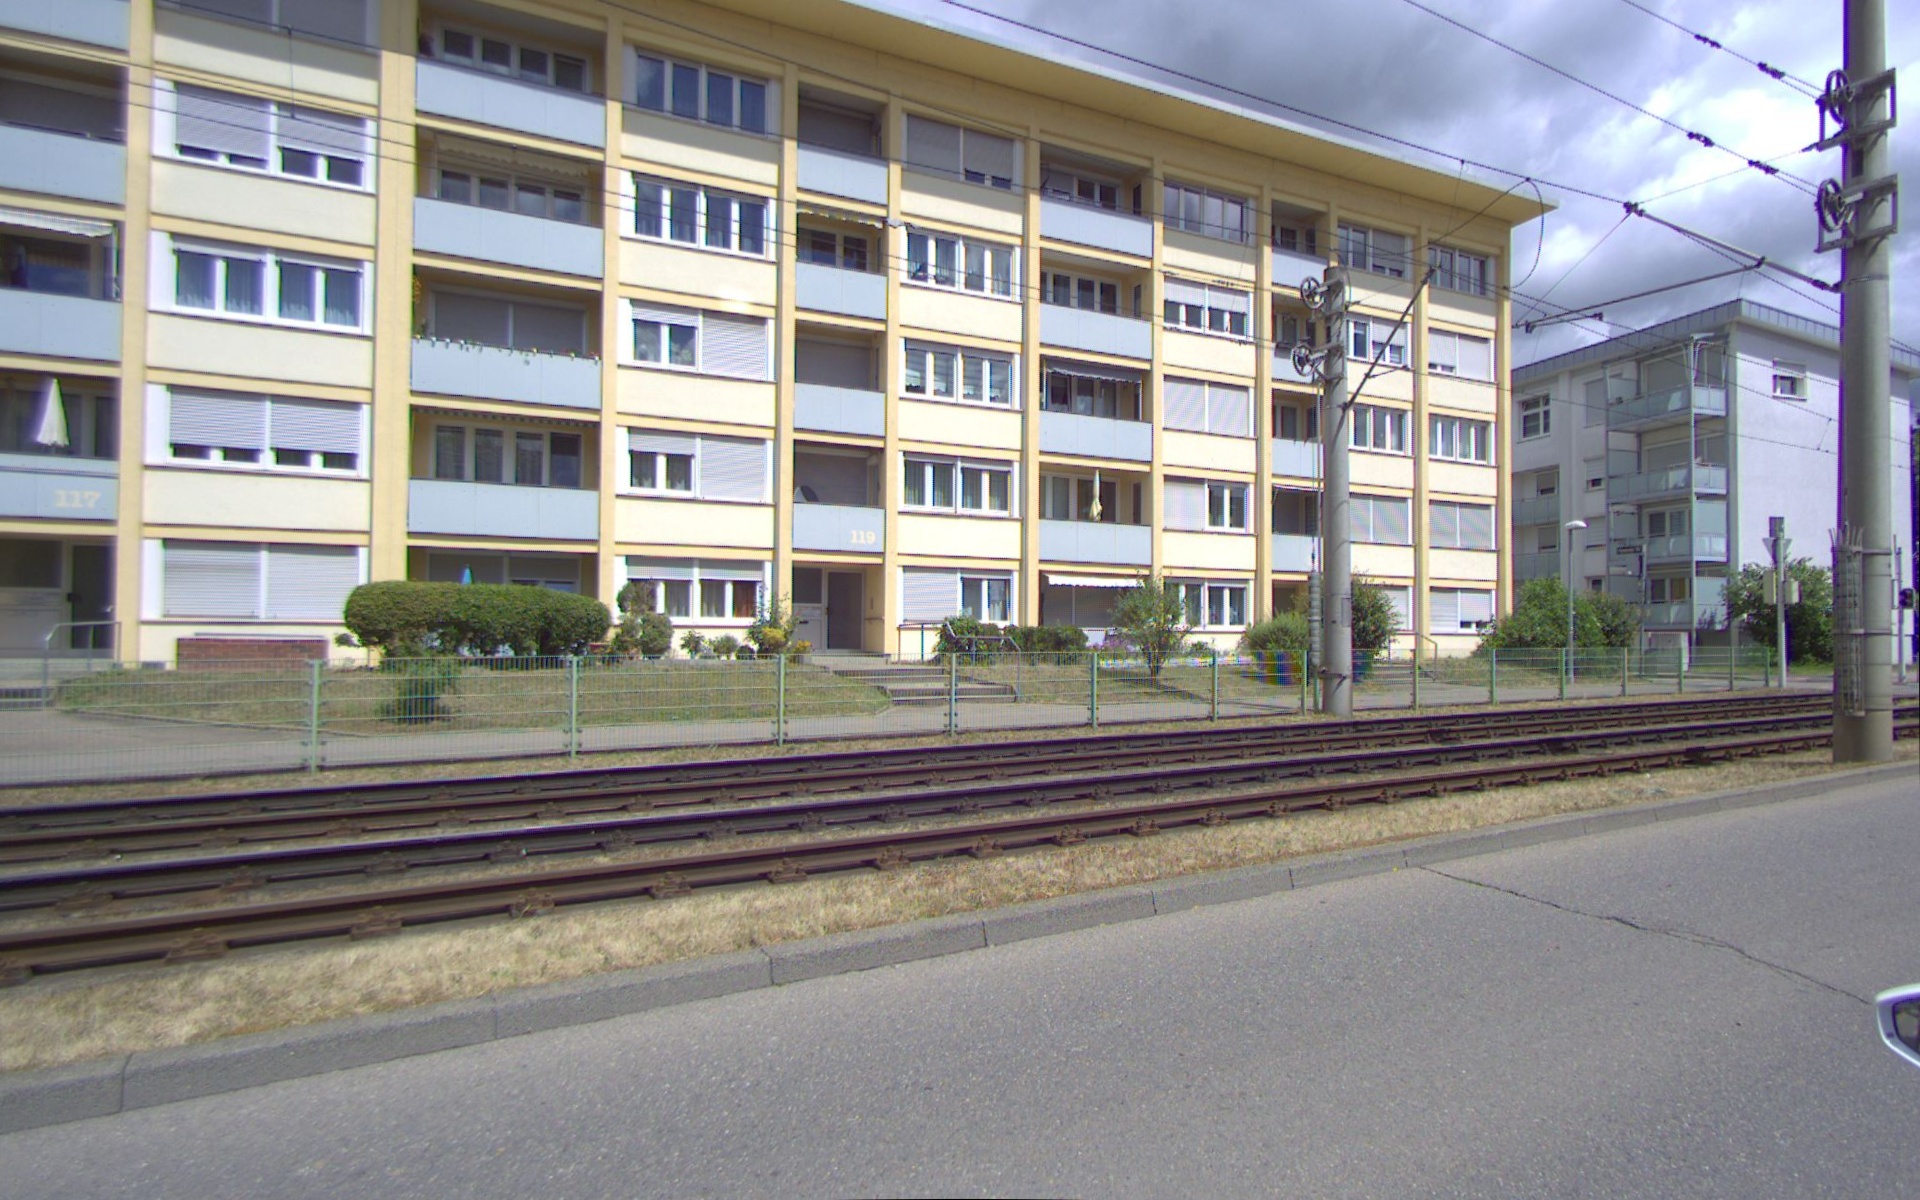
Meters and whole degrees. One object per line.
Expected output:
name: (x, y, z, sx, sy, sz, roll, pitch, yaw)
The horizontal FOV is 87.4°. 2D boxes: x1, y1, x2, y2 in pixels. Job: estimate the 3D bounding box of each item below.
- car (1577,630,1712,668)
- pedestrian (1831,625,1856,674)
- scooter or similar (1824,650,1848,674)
car: (26.346, 1.838, 38.791, 1.873, 1.363, 3.980, 1, -2, -21)
pedestrian: (29.335, 1.628, 33.363, 0.468, 1.601, 0.436, 0, -1, -25)
scooter or similar: (28.908, 2.047, 33.154, 0.468, 0.757, 0.436, 0, -1, -25)
